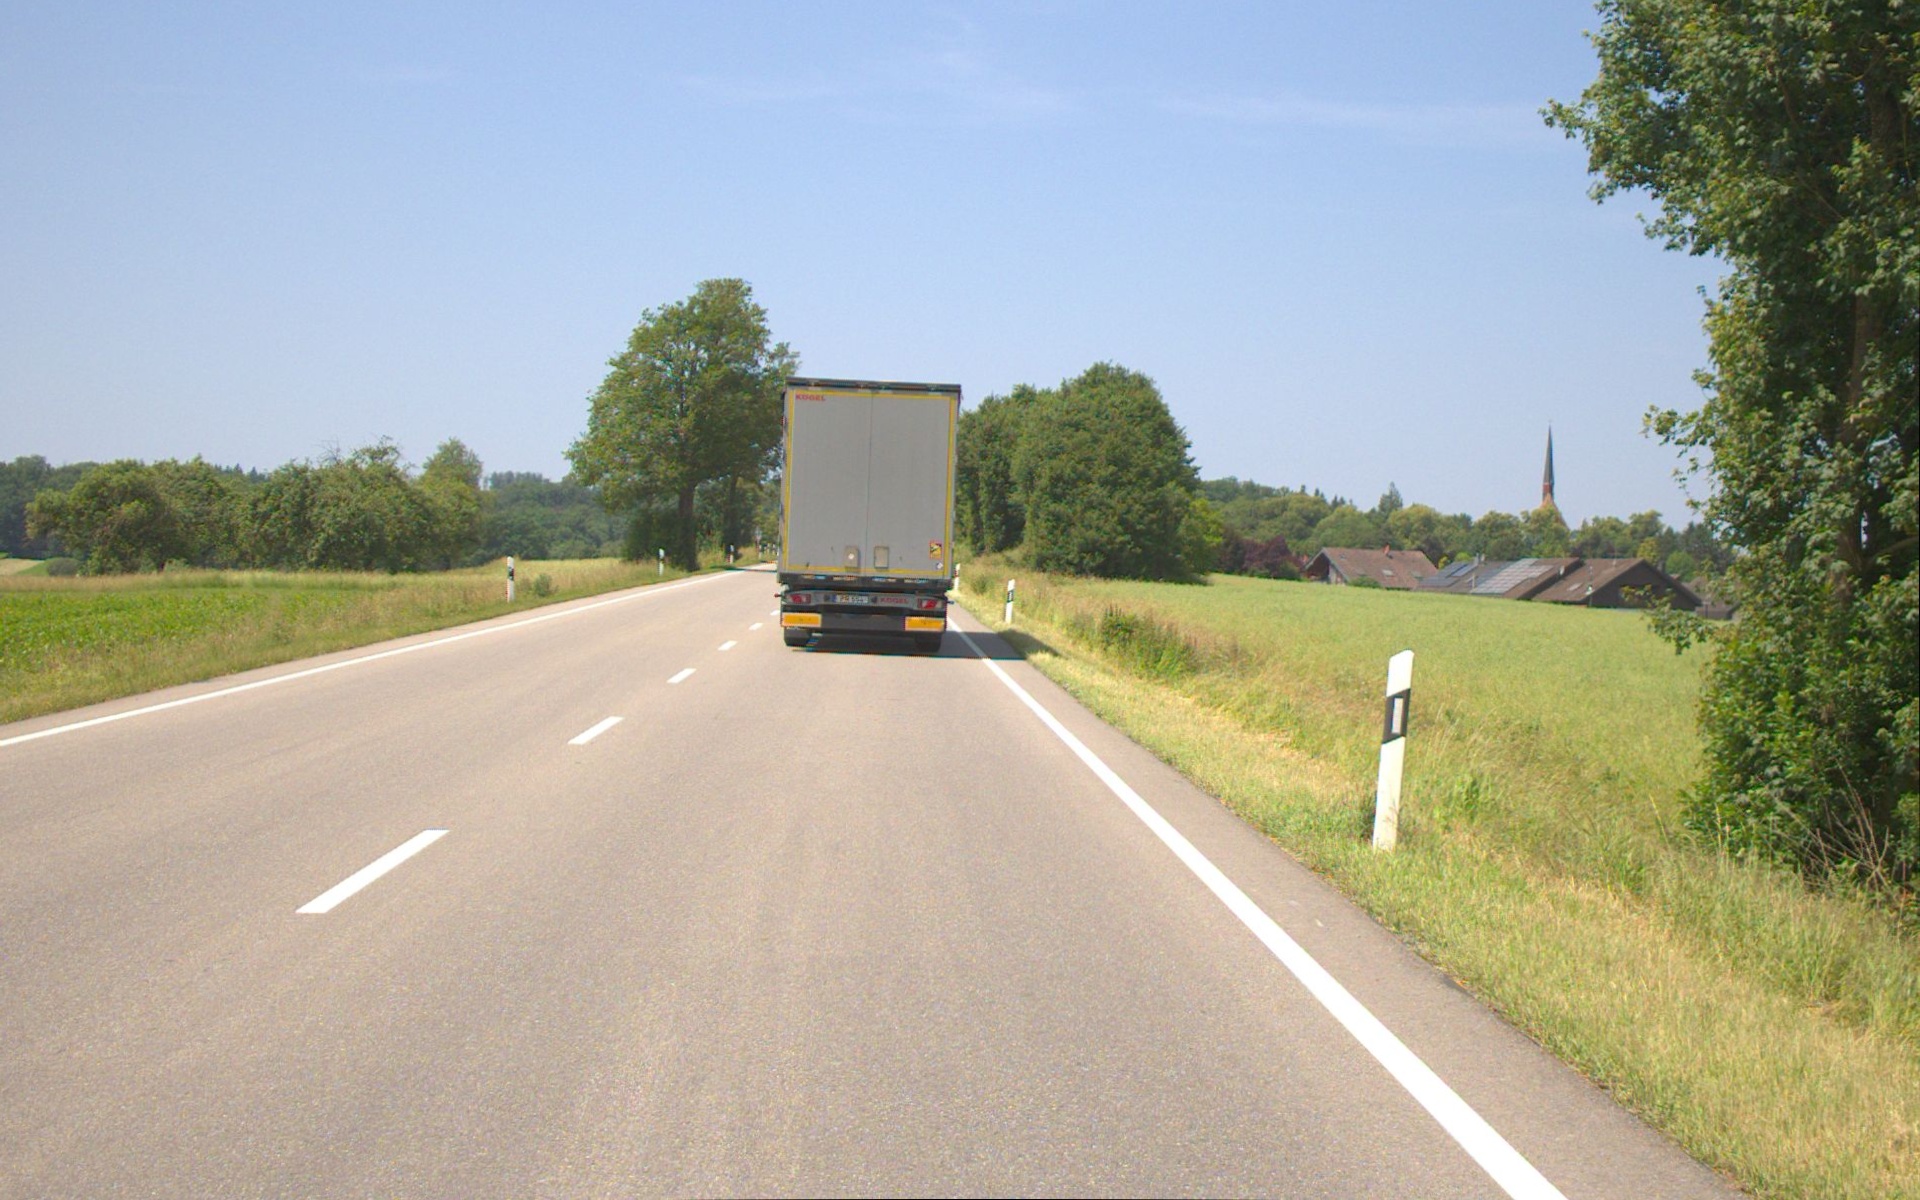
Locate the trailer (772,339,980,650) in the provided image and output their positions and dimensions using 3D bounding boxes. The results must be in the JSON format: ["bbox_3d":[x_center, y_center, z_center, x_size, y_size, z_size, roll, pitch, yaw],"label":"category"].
[{"bbox_3d":[-1.548,-1.649,56.293,2.866,4.385,13.495,2,1,-3],"label":"trailer"}]
